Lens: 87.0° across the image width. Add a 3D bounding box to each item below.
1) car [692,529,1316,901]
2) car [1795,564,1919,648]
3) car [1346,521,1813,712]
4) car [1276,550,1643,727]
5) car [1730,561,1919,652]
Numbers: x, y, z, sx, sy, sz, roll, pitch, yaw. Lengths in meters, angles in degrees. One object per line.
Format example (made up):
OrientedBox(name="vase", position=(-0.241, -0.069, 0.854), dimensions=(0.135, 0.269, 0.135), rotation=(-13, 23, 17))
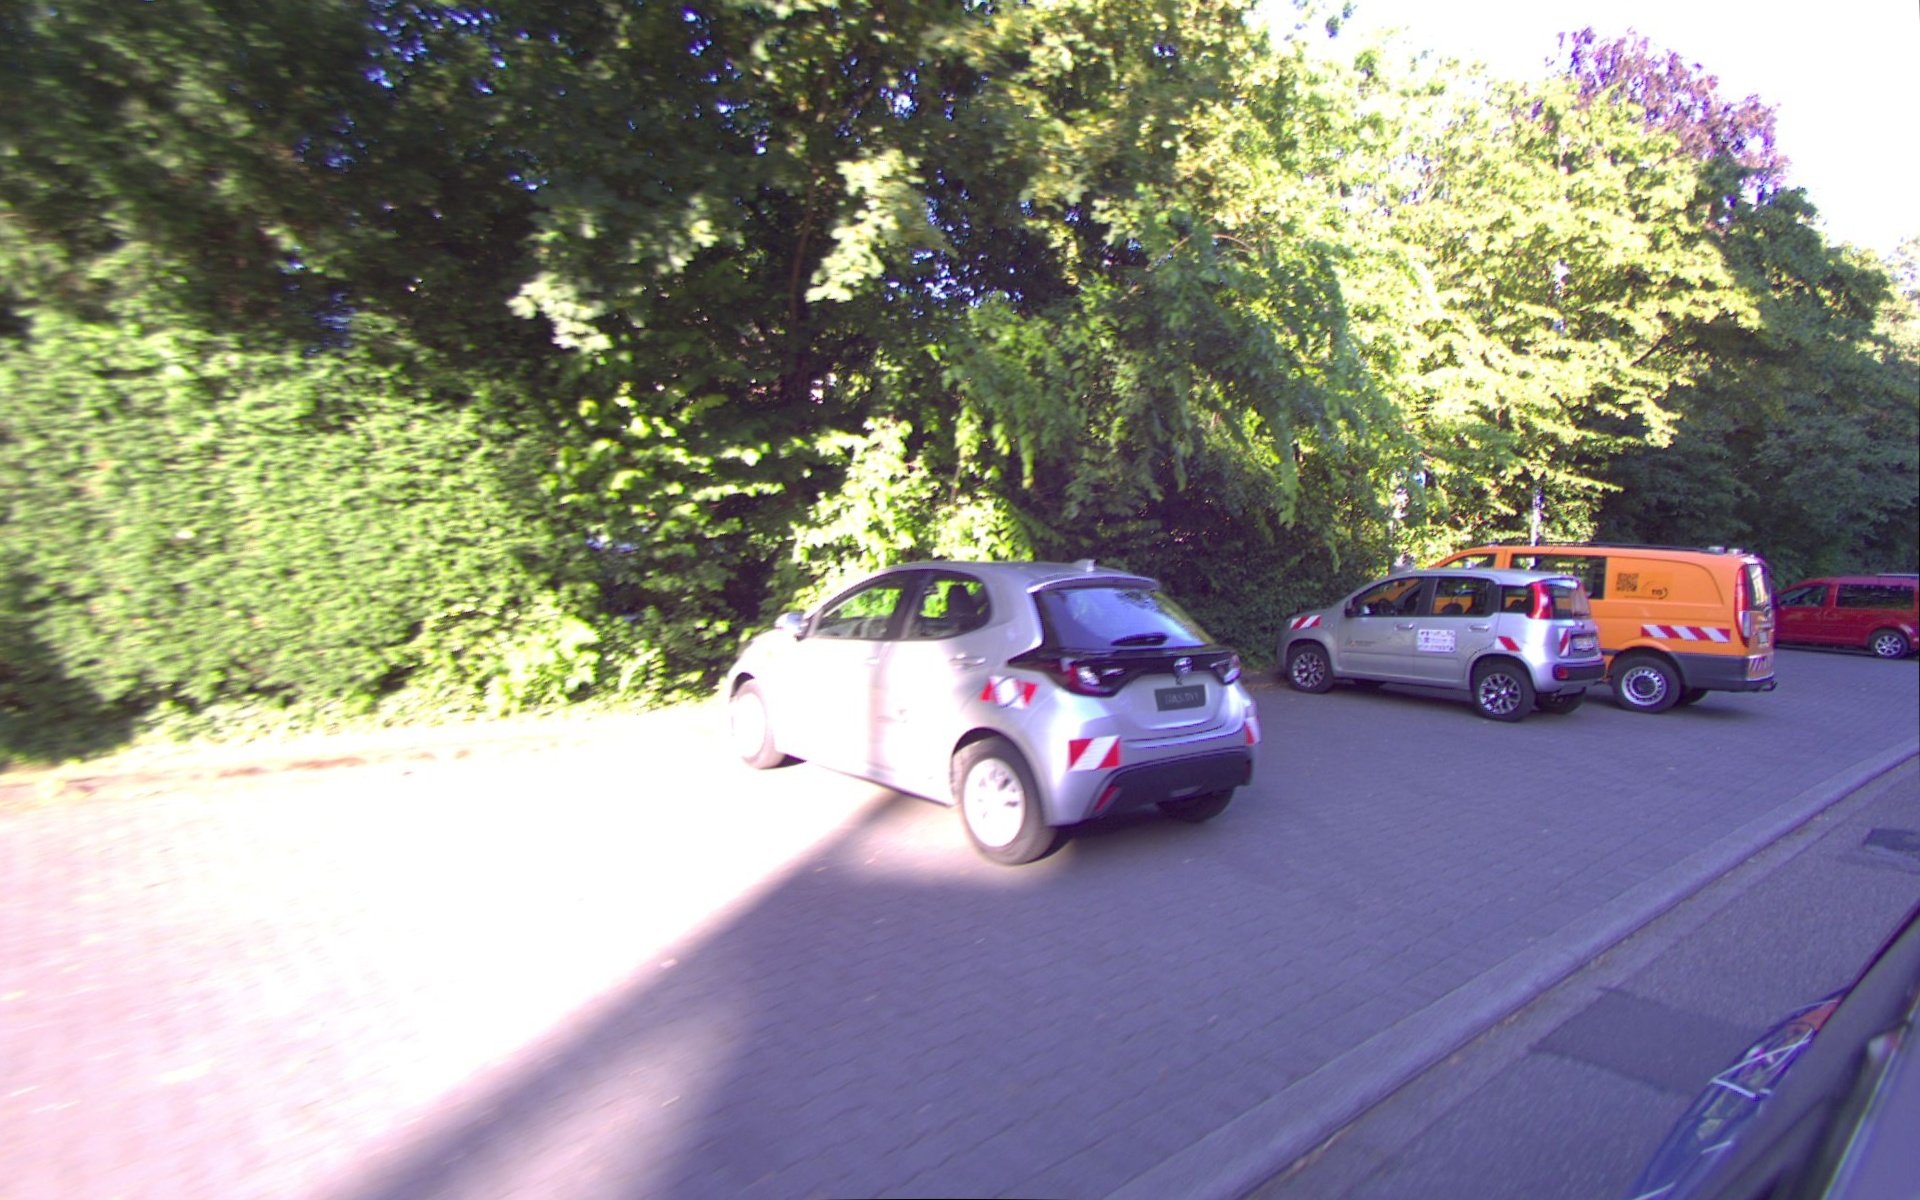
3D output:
OrientedBox(name="car", position=(-0.032, 0.390, 6.452), dimensions=(1.704, 1.565, 3.997), rotation=(0, 4, -40))
OrientedBox(name="car", position=(23.113, 0.142, 24.839), dimensions=(1.749, 1.906, 3.616), rotation=(0, 3, -34))
OrientedBox(name="car", position=(7.898, 0.028, 13.341), dimensions=(2.045, 2.022, 4.805), rotation=(0, 4, -42))
OrientedBox(name="car", position=(5.674, 0.316, 11.815), dimensions=(1.649, 1.651, 3.407), rotation=(0, 4, -38))
OrientedBox(name="car", position=(20.790, 0.099, 23.637), dimensions=(1.882, 1.886, 3.988), rotation=(0, 3, -33))
